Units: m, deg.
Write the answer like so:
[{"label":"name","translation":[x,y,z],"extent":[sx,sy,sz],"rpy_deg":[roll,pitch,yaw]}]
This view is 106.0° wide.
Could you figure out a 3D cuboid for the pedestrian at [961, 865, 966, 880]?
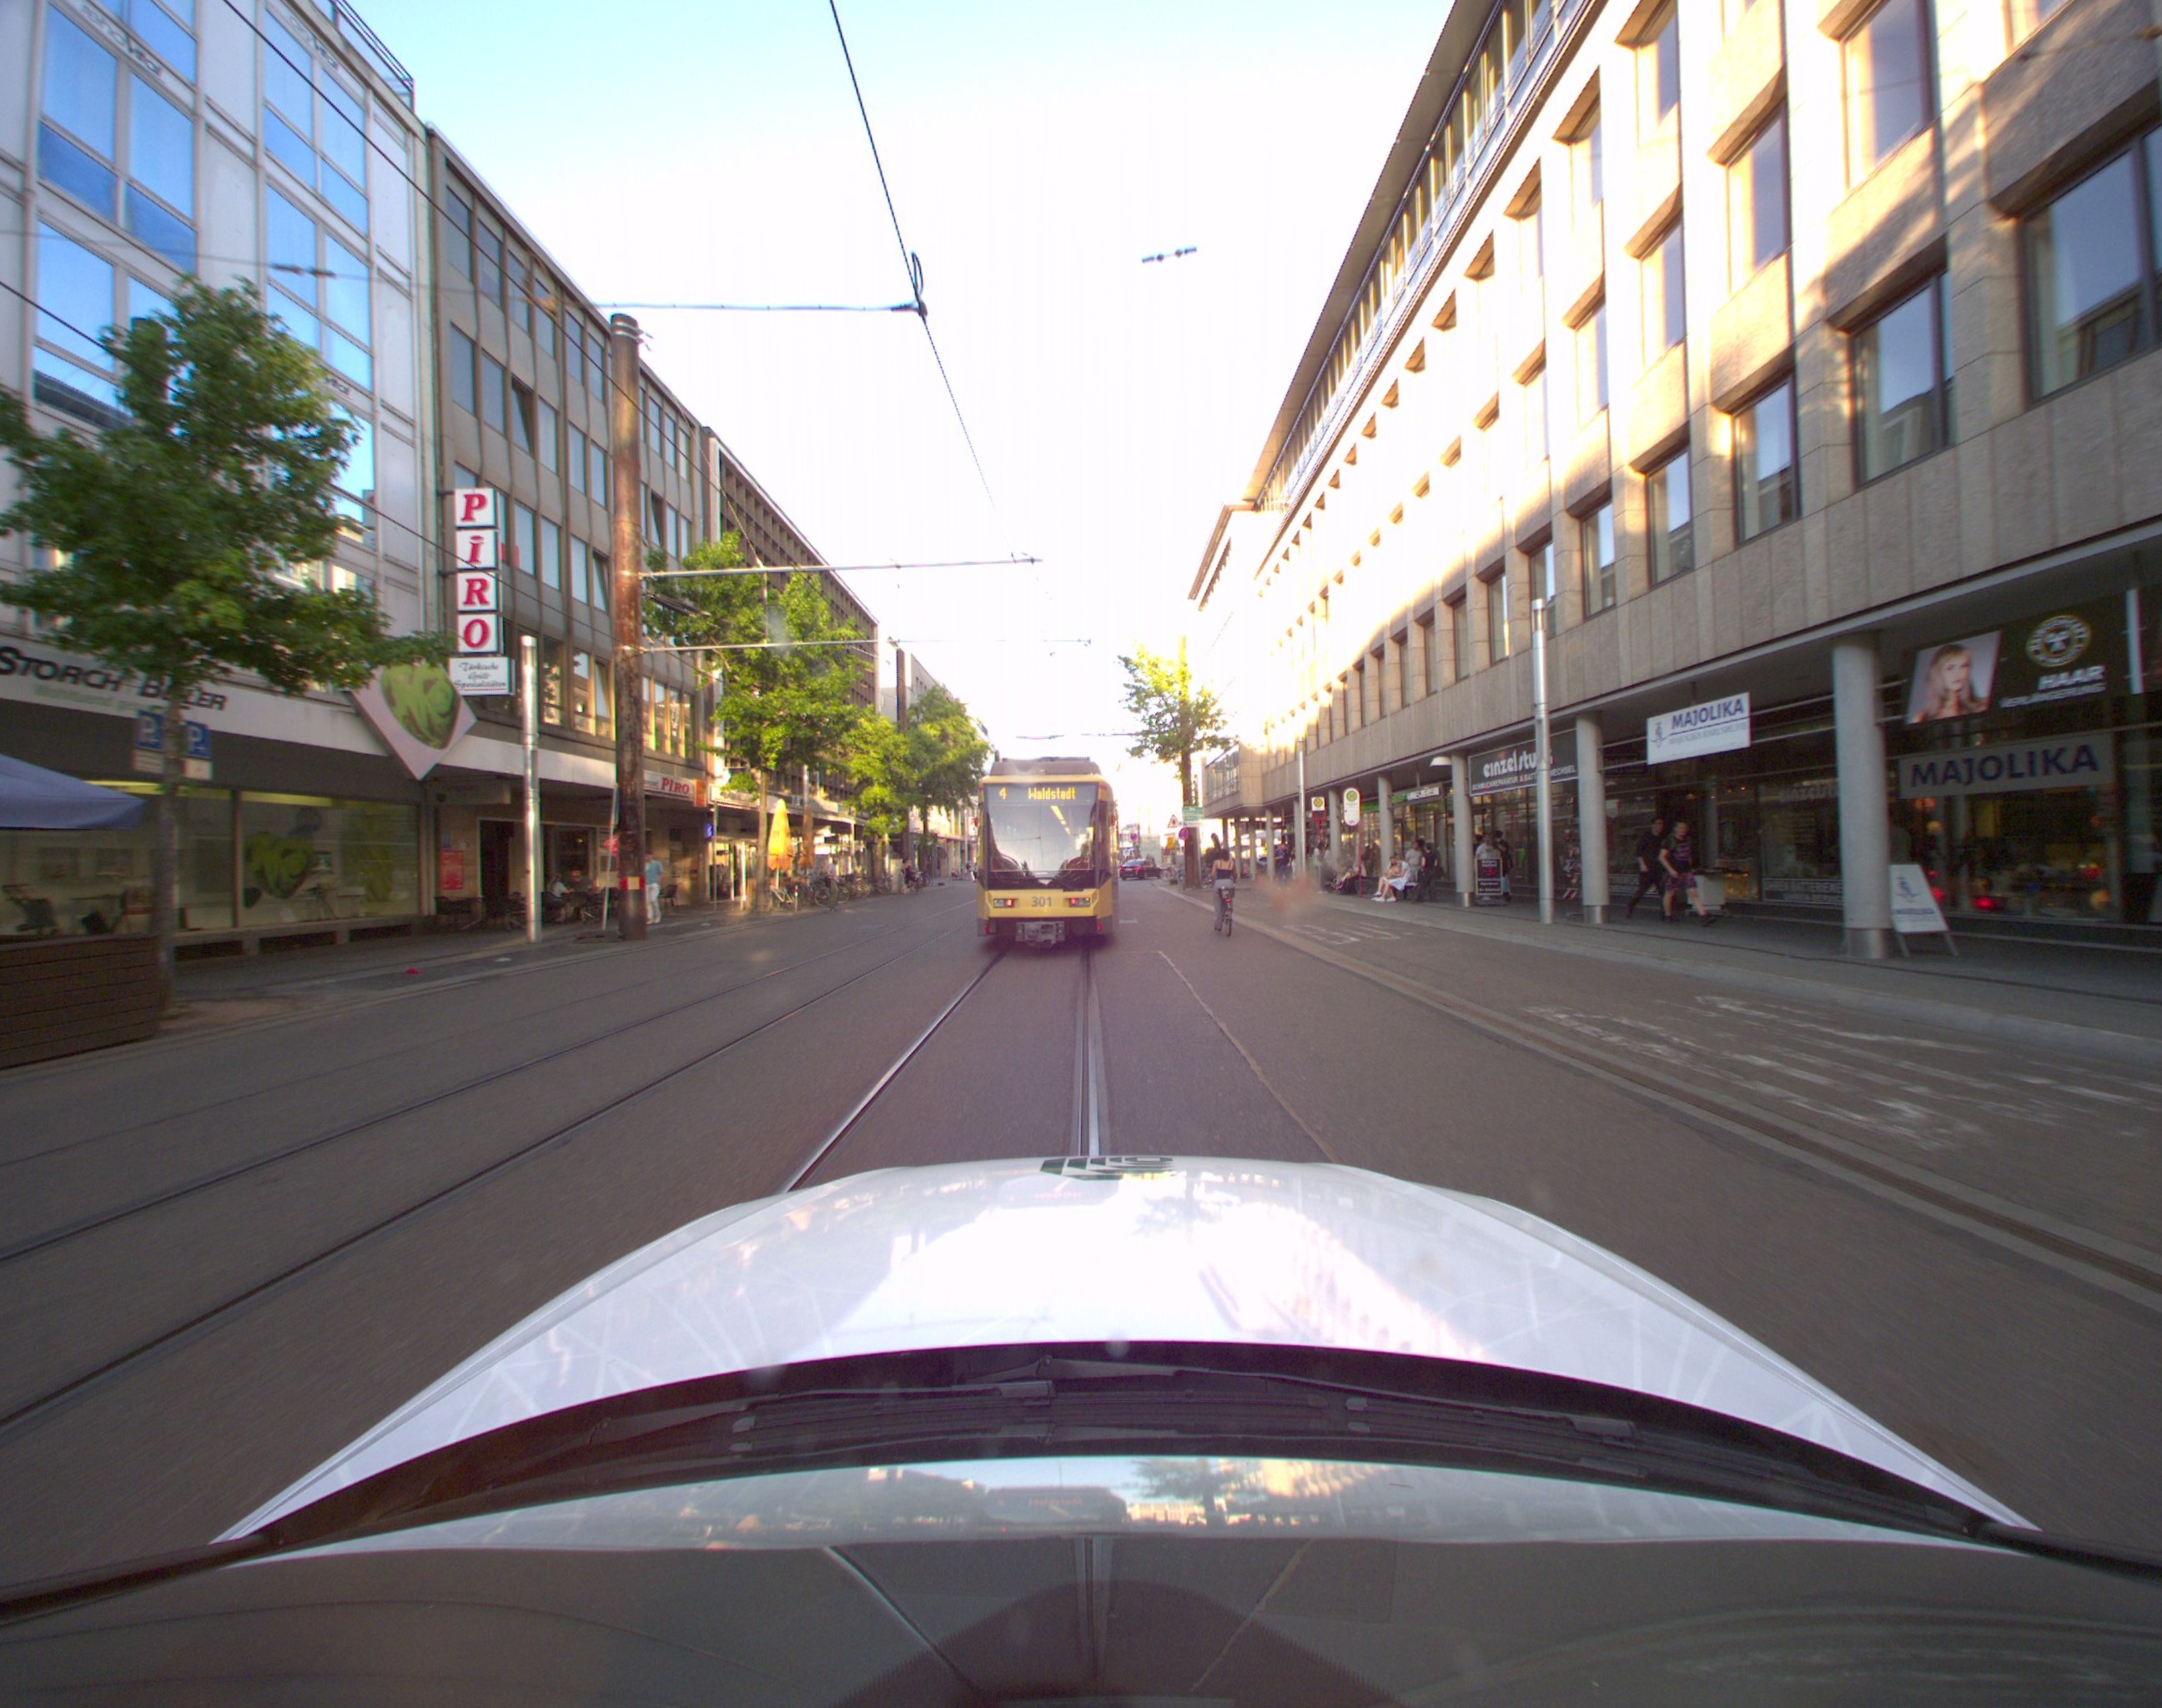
[{"label":"pedestrian","translation":[-13.049,2.049,90.288],"extent":[0.508,1.547,0.516],"rpy_deg":[-2,-1,-8]}]

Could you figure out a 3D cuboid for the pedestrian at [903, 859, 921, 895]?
[{"label":"pedestrian","translation":[-8.030,1.076,38.714],"extent":[0.595,1.699,0.539],"rpy_deg":[-1,0,29]}]

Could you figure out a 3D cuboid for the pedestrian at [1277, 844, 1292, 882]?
[{"label":"pedestrian","translation":[9.987,0.437,39.982],"extent":[0.537,1.806,0.604],"rpy_deg":[-3,-1,-1]}]

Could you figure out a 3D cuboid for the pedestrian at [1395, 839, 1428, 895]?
[{"label":"pedestrian","translation":[10.207,0.398,25.179],"extent":[0.685,1.661,0.722],"rpy_deg":[-3,-1,2]}]

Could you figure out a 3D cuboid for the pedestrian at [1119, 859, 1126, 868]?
[{"label":"pedestrian","translation":[5.266,1.213,103.324],"extent":[0.790,1.221,0.768],"rpy_deg":[-1,0,-3]}]

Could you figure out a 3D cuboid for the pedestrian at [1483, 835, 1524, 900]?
[{"label":"pedestrian","translation":[11.104,0.343,21.412],"extent":[0.645,1.661,0.681],"rpy_deg":[-3,-1,2]}]

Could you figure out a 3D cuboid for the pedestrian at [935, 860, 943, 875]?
[{"label":"pedestrian","translation":[-16.119,1.564,92.654],"extent":[0.711,1.725,0.709],"rpy_deg":[-2,-1,-1]}]

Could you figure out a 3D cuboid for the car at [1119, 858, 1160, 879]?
[{"label":"car","translation":[4.170,1.015,57.732],"extent":[1.754,1.409,4.073],"rpy_deg":[-2,-2,21]}]

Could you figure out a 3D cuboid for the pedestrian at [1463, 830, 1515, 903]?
[{"label":"pedestrian","translation":[10.438,0.309,20.855],"extent":[0.841,1.797,0.859],"rpy_deg":[-3,-1,1]}]

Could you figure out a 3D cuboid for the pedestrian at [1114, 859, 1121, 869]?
[{"label":"pedestrian","translation":[4.673,1.232,104.127],"extent":[0.790,1.221,0.768],"rpy_deg":[-1,0,-3]}]

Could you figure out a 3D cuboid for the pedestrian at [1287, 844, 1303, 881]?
[{"label":"pedestrian","translation":[10.533,0.430,40.156],"extent":[0.537,1.806,0.604],"rpy_deg":[-3,-1,-1]}]

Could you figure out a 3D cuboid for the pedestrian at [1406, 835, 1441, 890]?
[{"label":"pedestrian","translation":[11.426,0.293,27.197],"extent":[0.770,1.772,0.773],"rpy_deg":[-2,-1,-1]}]

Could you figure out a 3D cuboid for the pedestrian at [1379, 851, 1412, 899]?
[{"label":"pedestrian","translation":[8.797,0.573,22.786],"extent":[0.715,1.314,0.524],"rpy_deg":[-1,-1,2]}]

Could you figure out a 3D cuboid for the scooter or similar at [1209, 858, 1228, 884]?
[{"label":"scooter or similar","translation":[7.139,0.883,42.339],"extent":[0.388,1.251,1.199],"rpy_deg":[-3,0,39]}]

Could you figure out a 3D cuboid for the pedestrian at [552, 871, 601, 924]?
[{"label":"pedestrian","translation":[-13.054,1.099,21.090],"extent":[0.668,1.326,0.911],"rpy_deg":[1,-1,-1]}]

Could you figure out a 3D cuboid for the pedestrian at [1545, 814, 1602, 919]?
[{"label":"pedestrian","translation":[9.366,0.238,15.506],"extent":[0.576,1.944,0.655],"rpy_deg":[-3,-1,0]}]

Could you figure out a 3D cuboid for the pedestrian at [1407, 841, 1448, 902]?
[{"label":"pedestrian","translation":[9.200,0.464,21.672],"extent":[0.721,1.570,0.736],"rpy_deg":[-3,-1,2]}]

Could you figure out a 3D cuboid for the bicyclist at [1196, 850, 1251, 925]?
[{"label":"bicyclist","translation":[2.881,0.664,16.563],"extent":[0.993,1.502,0.857],"rpy_deg":[0,0,1]}]

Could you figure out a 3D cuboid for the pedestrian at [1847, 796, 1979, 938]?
[{"label":"pedestrian","translation":[11.686,0.181,11.476],"extent":[0.841,1.889,0.899],"rpy_deg":[-3,-1,1]}]

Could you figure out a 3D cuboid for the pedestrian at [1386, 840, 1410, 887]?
[{"label":"pedestrian","translation":[11.900,0.351,30.612],"extent":[0.568,1.731,0.617],"rpy_deg":[-3,-1,-1]}]

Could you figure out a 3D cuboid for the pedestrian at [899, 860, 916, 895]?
[{"label":"pedestrian","translation":[-8.352,1.129,39.186],"extent":[0.595,1.699,0.539],"rpy_deg":[-1,0,29]}]

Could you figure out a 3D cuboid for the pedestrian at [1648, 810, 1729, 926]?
[{"label":"pedestrian","translation":[10.327,0.232,13.873],"extent":[0.704,1.889,0.796],"rpy_deg":[-3,-1,1]}]

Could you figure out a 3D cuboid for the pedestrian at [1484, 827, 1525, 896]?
[{"label":"pedestrian","translation":[11.985,0.218,23.064],"extent":[0.685,1.883,0.773],"rpy_deg":[-3,-1,-1]}]

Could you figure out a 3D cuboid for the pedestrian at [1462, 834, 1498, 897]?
[{"label":"pedestrian","translation":[11.326,0.320,23.129],"extent":[0.580,1.753,0.773],"rpy_deg":[-3,-1,-1]}]

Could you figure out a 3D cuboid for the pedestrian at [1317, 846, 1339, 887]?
[{"label":"pedestrian","translation":[10.212,0.512,33.647],"extent":[0.646,1.661,0.650],"rpy_deg":[-3,-1,1]}]

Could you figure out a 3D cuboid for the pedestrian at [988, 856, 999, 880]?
[{"label":"pedestrian","translation":[-7.175,1.164,66.665],"extent":[0.772,1.926,0.707],"rpy_deg":[-2,-1,-8]}]

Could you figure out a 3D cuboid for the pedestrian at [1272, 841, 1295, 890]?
[{"label":"pedestrian","translation":[7.813,0.460,31.439],"extent":[0.666,1.839,0.708],"rpy_deg":[-3,-1,0]}]

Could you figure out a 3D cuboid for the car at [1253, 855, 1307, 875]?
[{"label":"car","translation":[15.129,0.825,62.070],"extent":[3.868,1.409,1.779],"rpy_deg":[-1,-2,6]}]

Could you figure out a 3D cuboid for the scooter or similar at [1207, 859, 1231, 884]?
[{"label":"scooter or similar","translation":[7.069,0.890,41.749],"extent":[1.195,1.251,0.389],"rpy_deg":[-3,0,-29]}]

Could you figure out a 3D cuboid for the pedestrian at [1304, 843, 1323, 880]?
[{"label":"pedestrian","translation":[11.279,0.366,39.538],"extent":[0.660,1.787,0.719],"rpy_deg":[-3,-1,1]}]

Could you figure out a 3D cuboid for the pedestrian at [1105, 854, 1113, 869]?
[{"label":"pedestrian","translation":[3.406,0.890,100.284],"extent":[0.734,1.823,0.816],"rpy_deg":[-1,-1,-14]}]

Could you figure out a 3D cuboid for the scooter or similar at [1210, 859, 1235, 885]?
[{"label":"scooter or similar","translation":[7.131,0.895,40.949],"extent":[1.119,1.251,0.492],"rpy_deg":[-3,0,-30]}]

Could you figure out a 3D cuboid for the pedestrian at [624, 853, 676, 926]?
[{"label":"pedestrian","translation":[-10.806,0.873,20.452],"extent":[0.680,1.793,0.992],"rpy_deg":[1,-1,6]}]

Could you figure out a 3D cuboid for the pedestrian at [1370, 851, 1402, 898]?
[{"label":"pedestrian","translation":[8.735,0.581,23.327],"extent":[0.715,1.314,0.532],"rpy_deg":[-1,-1,2]}]

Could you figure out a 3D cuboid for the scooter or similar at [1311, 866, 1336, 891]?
[{"label":"scooter or similar","translation":[8.723,0.892,29.343],"extent":[0.827,0.884,0.689],"rpy_deg":[0,-1,14]}]

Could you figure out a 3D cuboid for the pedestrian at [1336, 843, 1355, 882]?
[{"label":"pedestrian","translation":[11.785,0.382,36.278],"extent":[0.568,1.731,0.617],"rpy_deg":[-3,-1,-1]}]

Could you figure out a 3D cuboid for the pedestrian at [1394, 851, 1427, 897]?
[{"label":"pedestrian","translation":[9.474,0.570,23.438],"extent":[0.715,1.314,0.532],"rpy_deg":[-1,-1,2]}]

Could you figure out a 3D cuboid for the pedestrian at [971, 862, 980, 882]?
[{"label":"pedestrian","translation":[-8.374,1.460,64.744],"extent":[0.684,1.542,0.603],"rpy_deg":[-2,-1,-9]}]

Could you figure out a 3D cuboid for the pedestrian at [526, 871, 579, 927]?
[{"label":"pedestrian","translation":[-12.891,1.088,19.897],"extent":[0.668,1.326,0.911],"rpy_deg":[1,-1,-1]}]

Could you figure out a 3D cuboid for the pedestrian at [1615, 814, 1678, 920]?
[{"label":"pedestrian","translation":[10.507,0.241,15.157],"extent":[0.614,1.889,0.684],"rpy_deg":[-3,-1,2]}]
